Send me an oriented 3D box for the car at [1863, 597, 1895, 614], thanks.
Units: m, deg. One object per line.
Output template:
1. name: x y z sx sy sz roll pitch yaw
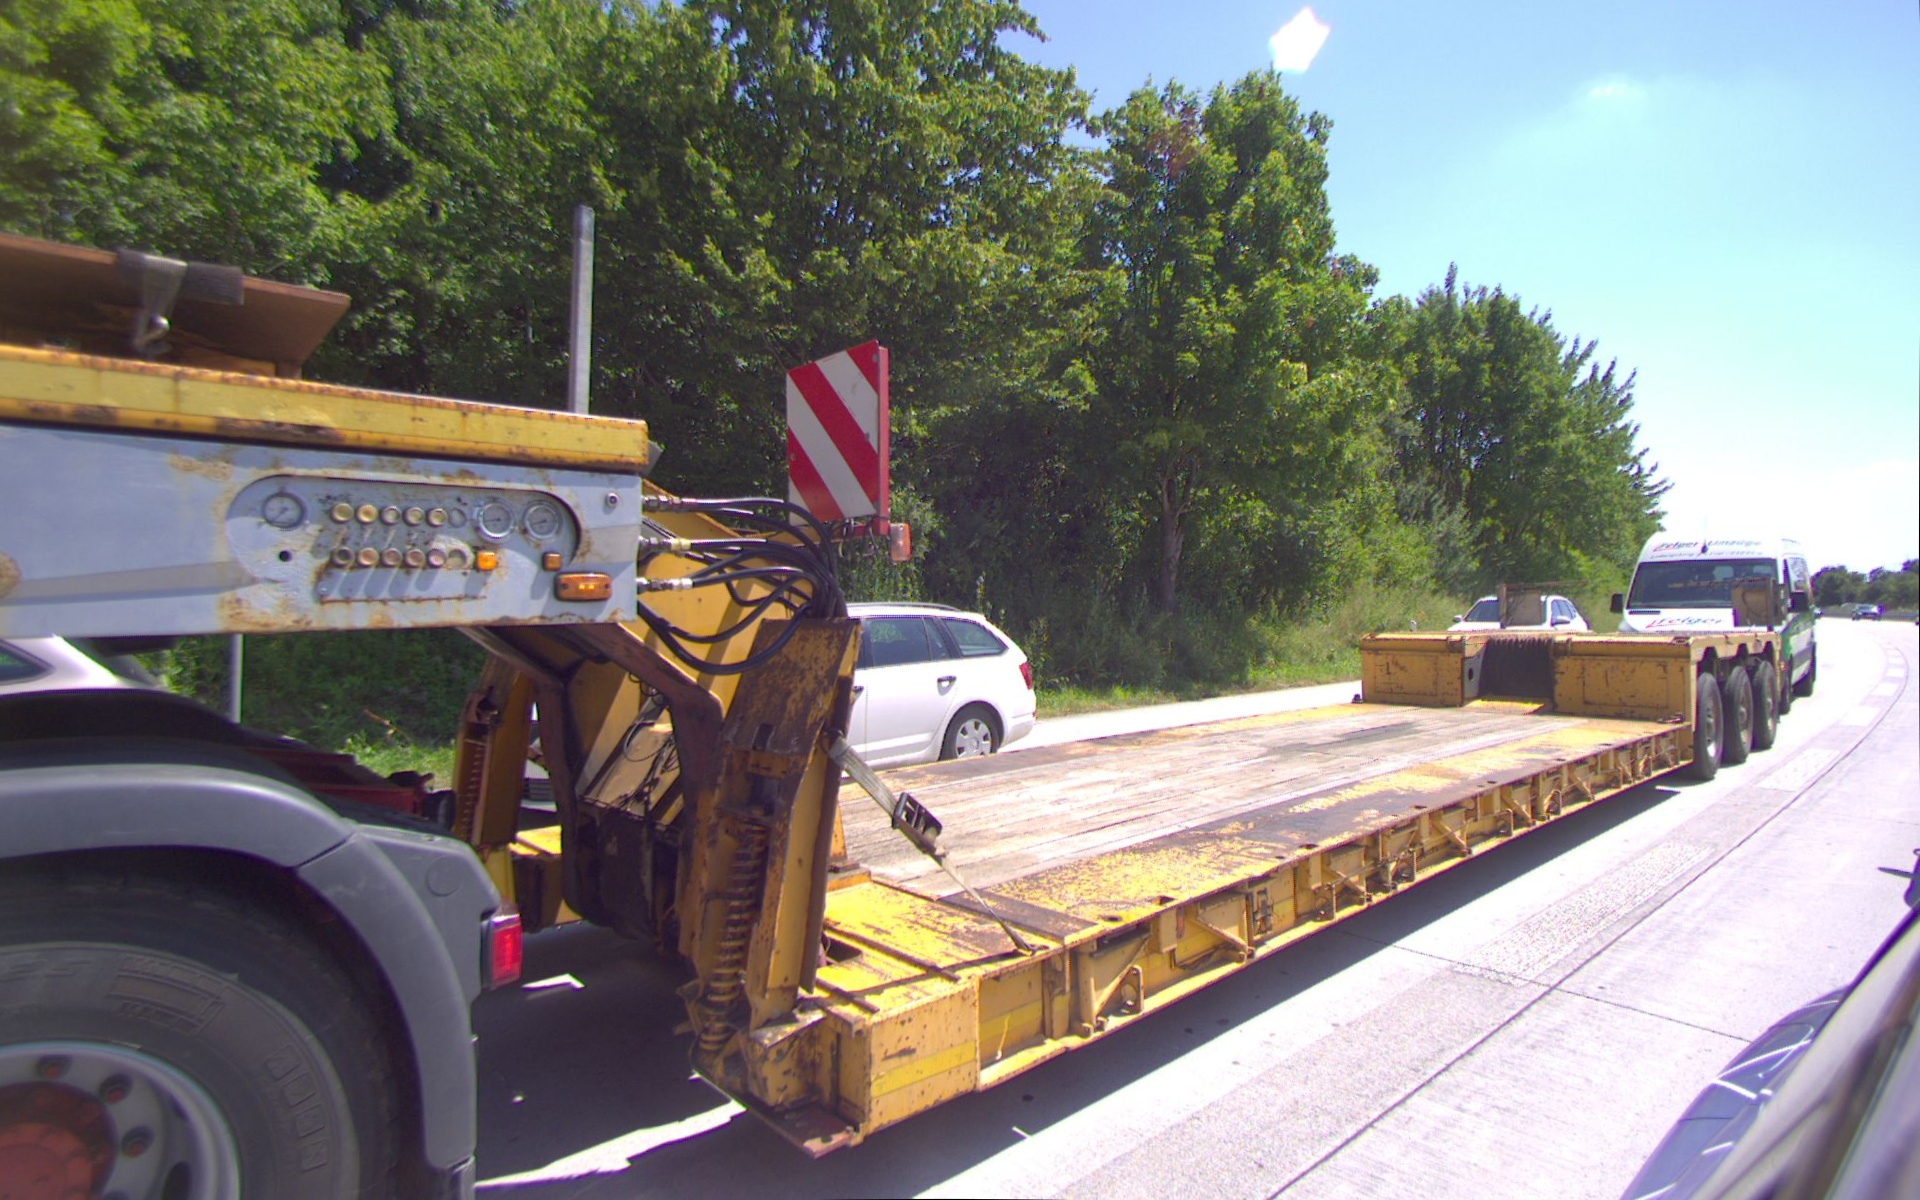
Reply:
1. car: 88.875 0.516 97.939 1.695 1.483 3.952 0 1 33

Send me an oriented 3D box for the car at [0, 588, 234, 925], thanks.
1. car: -5.774 0.703 4.205 4.292 1.480 1.769 -1 1 -44

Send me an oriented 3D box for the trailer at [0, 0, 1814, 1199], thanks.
1. trailer: 1.912 0.097 6.244 16.076 2.626 3.031 0 0 -42

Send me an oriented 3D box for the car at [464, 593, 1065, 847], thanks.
1. car: -1.312 0.689 8.142 4.521 1.480 1.769 -1 0 -43

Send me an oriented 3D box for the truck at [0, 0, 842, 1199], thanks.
1. truck: -3.975 -0.509 0.892 7.342 3.820 3.017 0 0 -42

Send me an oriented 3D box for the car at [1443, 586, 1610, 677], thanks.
1. car: 11.090 0.522 19.679 1.768 1.581 4.297 0 0 45

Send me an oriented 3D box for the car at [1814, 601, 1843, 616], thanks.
1. car: 91.569 0.893 106.773 1.879 1.483 3.950 0 1 35

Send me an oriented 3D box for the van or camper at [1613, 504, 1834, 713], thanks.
1. van or camper: 11.835 0.069 15.486 2.063 2.606 5.815 0 0 43
